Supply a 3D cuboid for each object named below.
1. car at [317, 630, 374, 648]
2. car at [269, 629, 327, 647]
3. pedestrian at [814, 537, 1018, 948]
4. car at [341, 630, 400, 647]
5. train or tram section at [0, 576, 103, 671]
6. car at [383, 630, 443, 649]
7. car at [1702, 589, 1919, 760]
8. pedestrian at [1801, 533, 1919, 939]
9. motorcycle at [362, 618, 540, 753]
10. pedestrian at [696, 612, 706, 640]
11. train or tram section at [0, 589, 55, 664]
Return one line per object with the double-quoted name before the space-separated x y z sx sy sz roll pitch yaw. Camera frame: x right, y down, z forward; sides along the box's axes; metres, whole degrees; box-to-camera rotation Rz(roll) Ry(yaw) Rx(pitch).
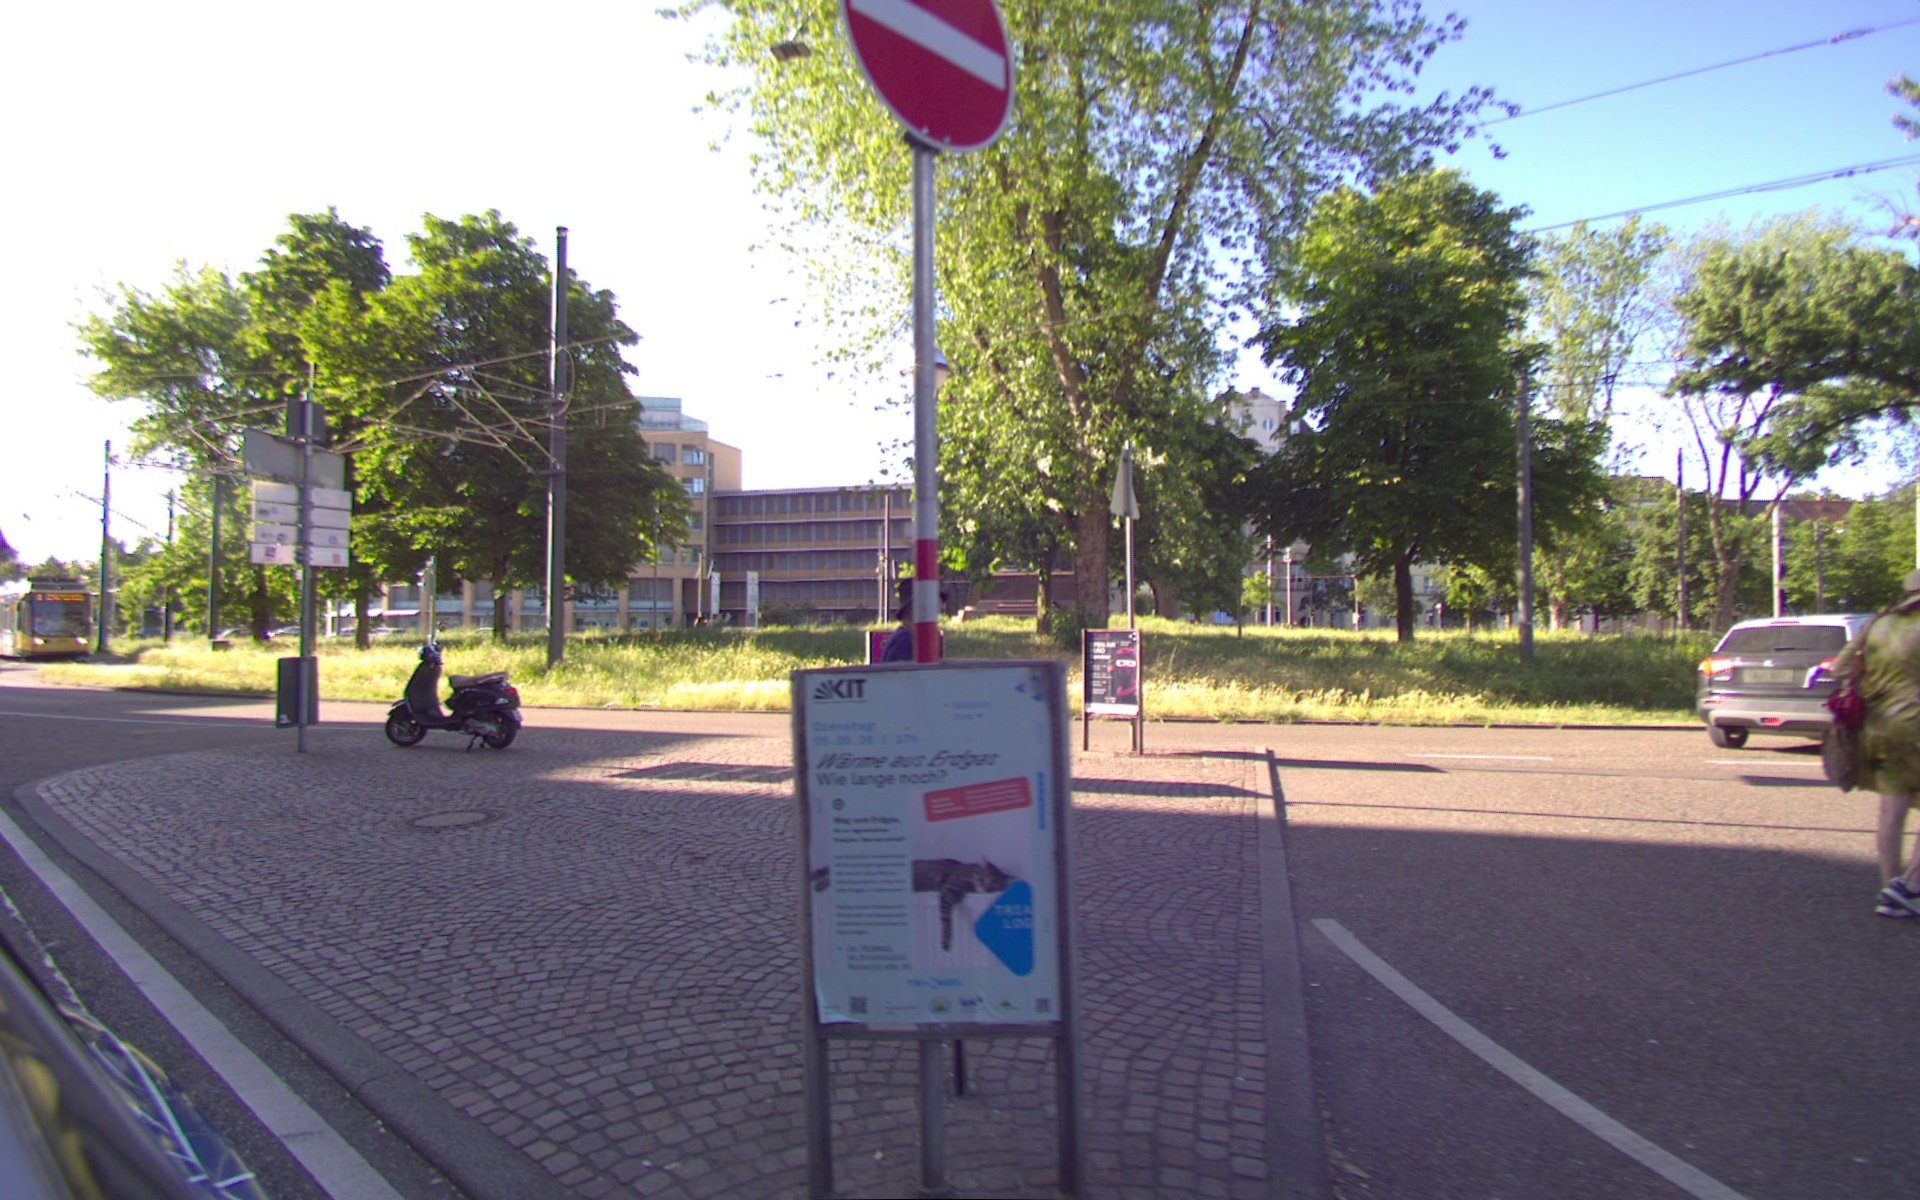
"car" -62.399 3.973 102.814 5.165 1.681 2.113 0 0 17
"car" -61.536 3.514 94.106 4.619 1.528 1.990 0 0 16
"pedestrian" -0.201 0.583 4.621 0.692 1.685 0.629 0 0 41
"car" -53.704 3.497 92.211 4.980 1.458 1.987 0 0 20
"train or tram section" -41.250 1.085 44.889 13.176 3.713 2.918 -2 -2 41
"car" -49.045 3.493 90.735 4.613 1.608 1.990 0 0 15
"car" 10.628 0.798 11.787 3.804 1.695 1.817 2 -2 -30
"pedestrian" 4.442 0.575 4.519 0.793 1.712 0.670 0 0 -1
"motorcycle" -5.603 0.901 11.157 1.746 1.384 0.744 0 0 18
"pedestrian" -15.094 1.496 58.965 0.546 1.628 0.676 0 0 -11
"train or tram section" -50.995 1.430 53.546 13.626 3.640 2.918 -2 -2 41
